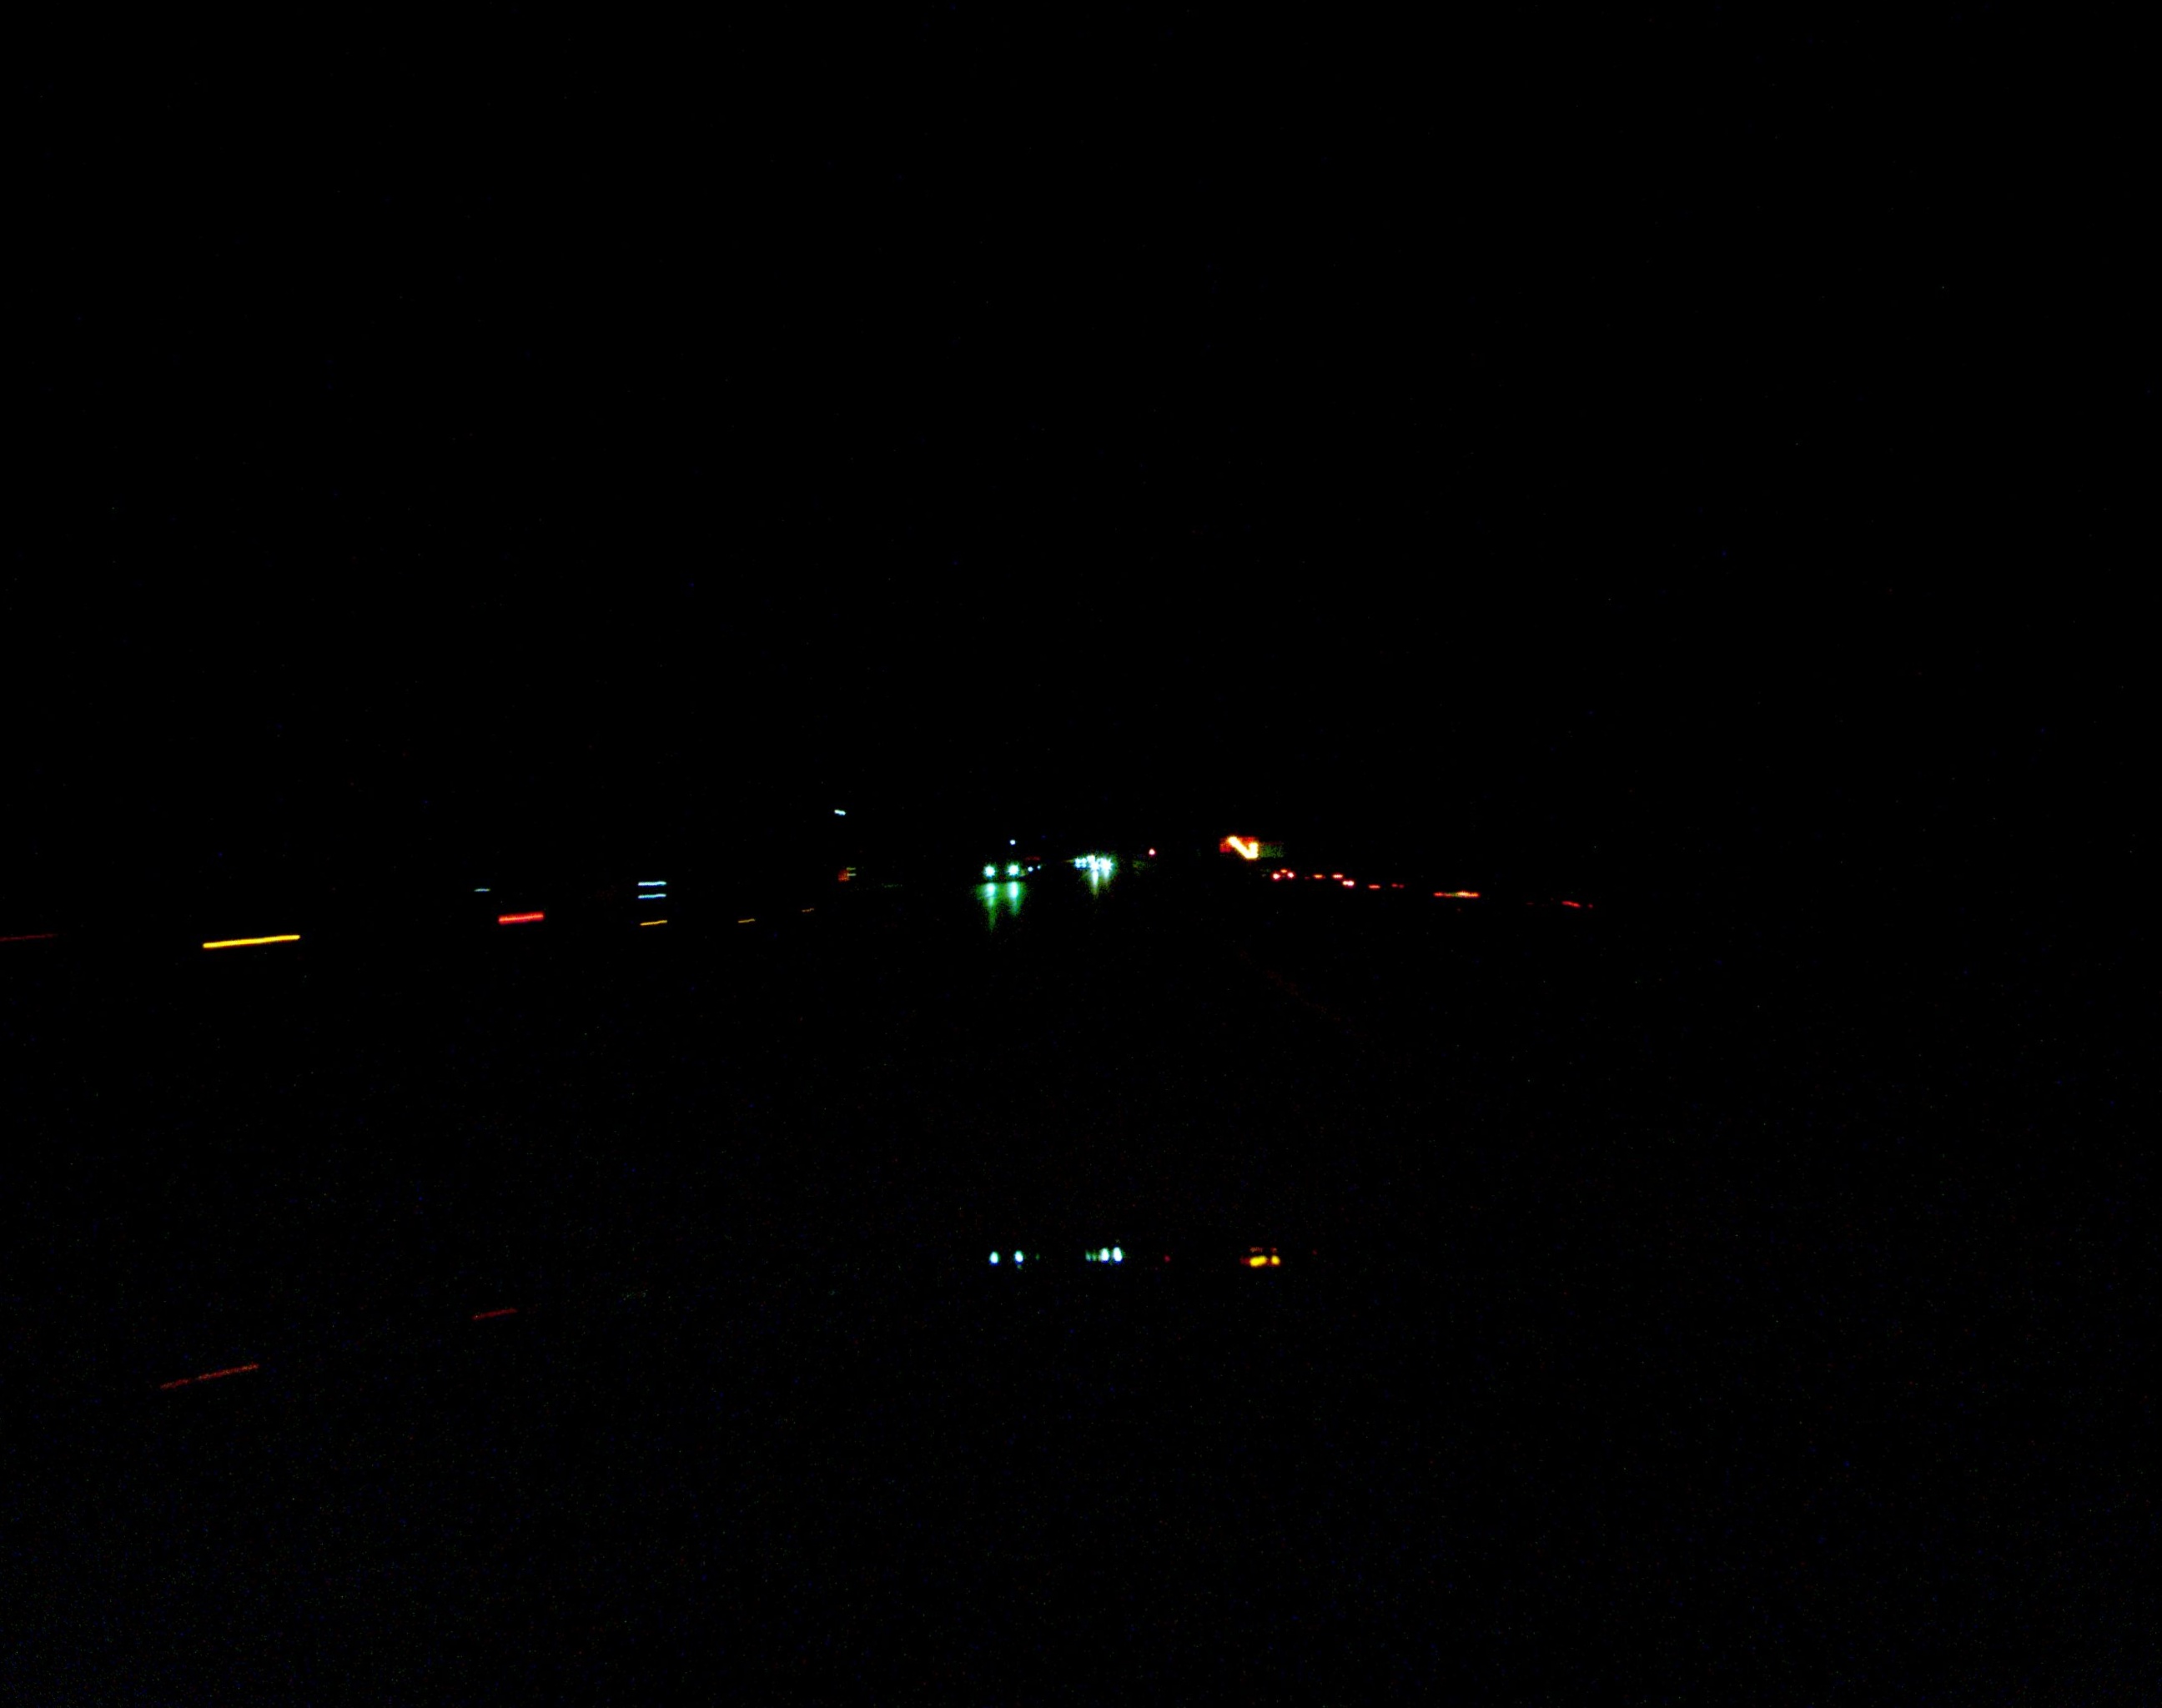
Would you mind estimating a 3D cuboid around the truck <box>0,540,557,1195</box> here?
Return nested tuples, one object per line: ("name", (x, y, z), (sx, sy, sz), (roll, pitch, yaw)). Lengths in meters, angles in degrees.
("truck", (-7.725, 0.115, 4.831), (2.874, 3.817, 8.055), (-2, 0, 2))

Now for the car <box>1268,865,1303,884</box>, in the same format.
("car", (17.729, 1.723, 66.112), (1.998, 1.482, 4.403), (-2, 0, 2))

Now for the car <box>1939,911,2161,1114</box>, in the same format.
("car", (12.264, 1.760, 8.448), (1.625, 2.002, 3.326), (0, 0, -2))

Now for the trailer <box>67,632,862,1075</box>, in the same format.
("trailer", (-7.438, -0.096, 13.325), (2.881, 3.909, 12.886), (-2, 1, 2))

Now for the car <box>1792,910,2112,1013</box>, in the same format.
("car", (16.591, 1.968, 14.840), (1.702, 1.390, 4.000), (-2, 0, 1))

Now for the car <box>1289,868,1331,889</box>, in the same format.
("car", (17.687, 1.865, 58.868), (1.998, 1.482, 4.403), (-2, 0, 2))

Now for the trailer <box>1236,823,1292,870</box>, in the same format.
("trailer", (18.931, -0.866, 79.740), (3.155, 4.291, 14.813), (-3, 1, 4))

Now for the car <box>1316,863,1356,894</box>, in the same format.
("car", (17.513, 1.646, 52.313), (1.893, 2.002, 4.002), (-2, 0, 8))

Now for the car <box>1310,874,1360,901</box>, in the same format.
("car", (14.664, 1.901, 44.100), (1.804, 1.408, 4.001), (0, 0, 4))

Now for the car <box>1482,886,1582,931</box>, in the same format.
("car", (16.680, 1.980, 28.357), (1.710, 1.368, 4.002), (-1, 0, 6))

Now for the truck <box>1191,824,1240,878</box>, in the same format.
("truck", (9.976, -0.250, 57.068), (2.609, 3.722, 6.756), (-3, 1, 3))

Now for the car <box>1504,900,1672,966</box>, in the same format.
("car", (12.919, 1.957, 19.699), (1.723, 1.295, 4.000), (0, 0, 1))

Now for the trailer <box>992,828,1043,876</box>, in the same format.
("trailer", (-5.708, -0.185, 71.229), (2.839, 3.951, 15.765), (-2, 0, 2))

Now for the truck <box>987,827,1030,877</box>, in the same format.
("truck", (-5.962, -0.148, 62.941), (2.900, 3.948, 4.001), (-2, 0, 2))

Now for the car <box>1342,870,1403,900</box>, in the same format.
("car", (17.114, 1.774, 44.854), (1.998, 1.482, 4.403), (-2, 0, 2))

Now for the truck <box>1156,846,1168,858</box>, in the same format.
("truck", (25.004, -0.505, 235.138), (2.661, 3.570, 8.549), (-2, 0, 0))

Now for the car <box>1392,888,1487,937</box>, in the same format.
("car", (12.524, 1.995, 26.837), (1.804, 1.408, 4.002), (0, 0, 6))

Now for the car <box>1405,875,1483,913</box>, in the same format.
("car", (17.276, 1.877, 36.355), (1.998, 1.539, 4.140), (-2, 0, 5))

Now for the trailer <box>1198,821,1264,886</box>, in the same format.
("trailer", (9.663, -0.083, 50.144), (2.541, 3.692, 10.127), (-3, 1, 2))
